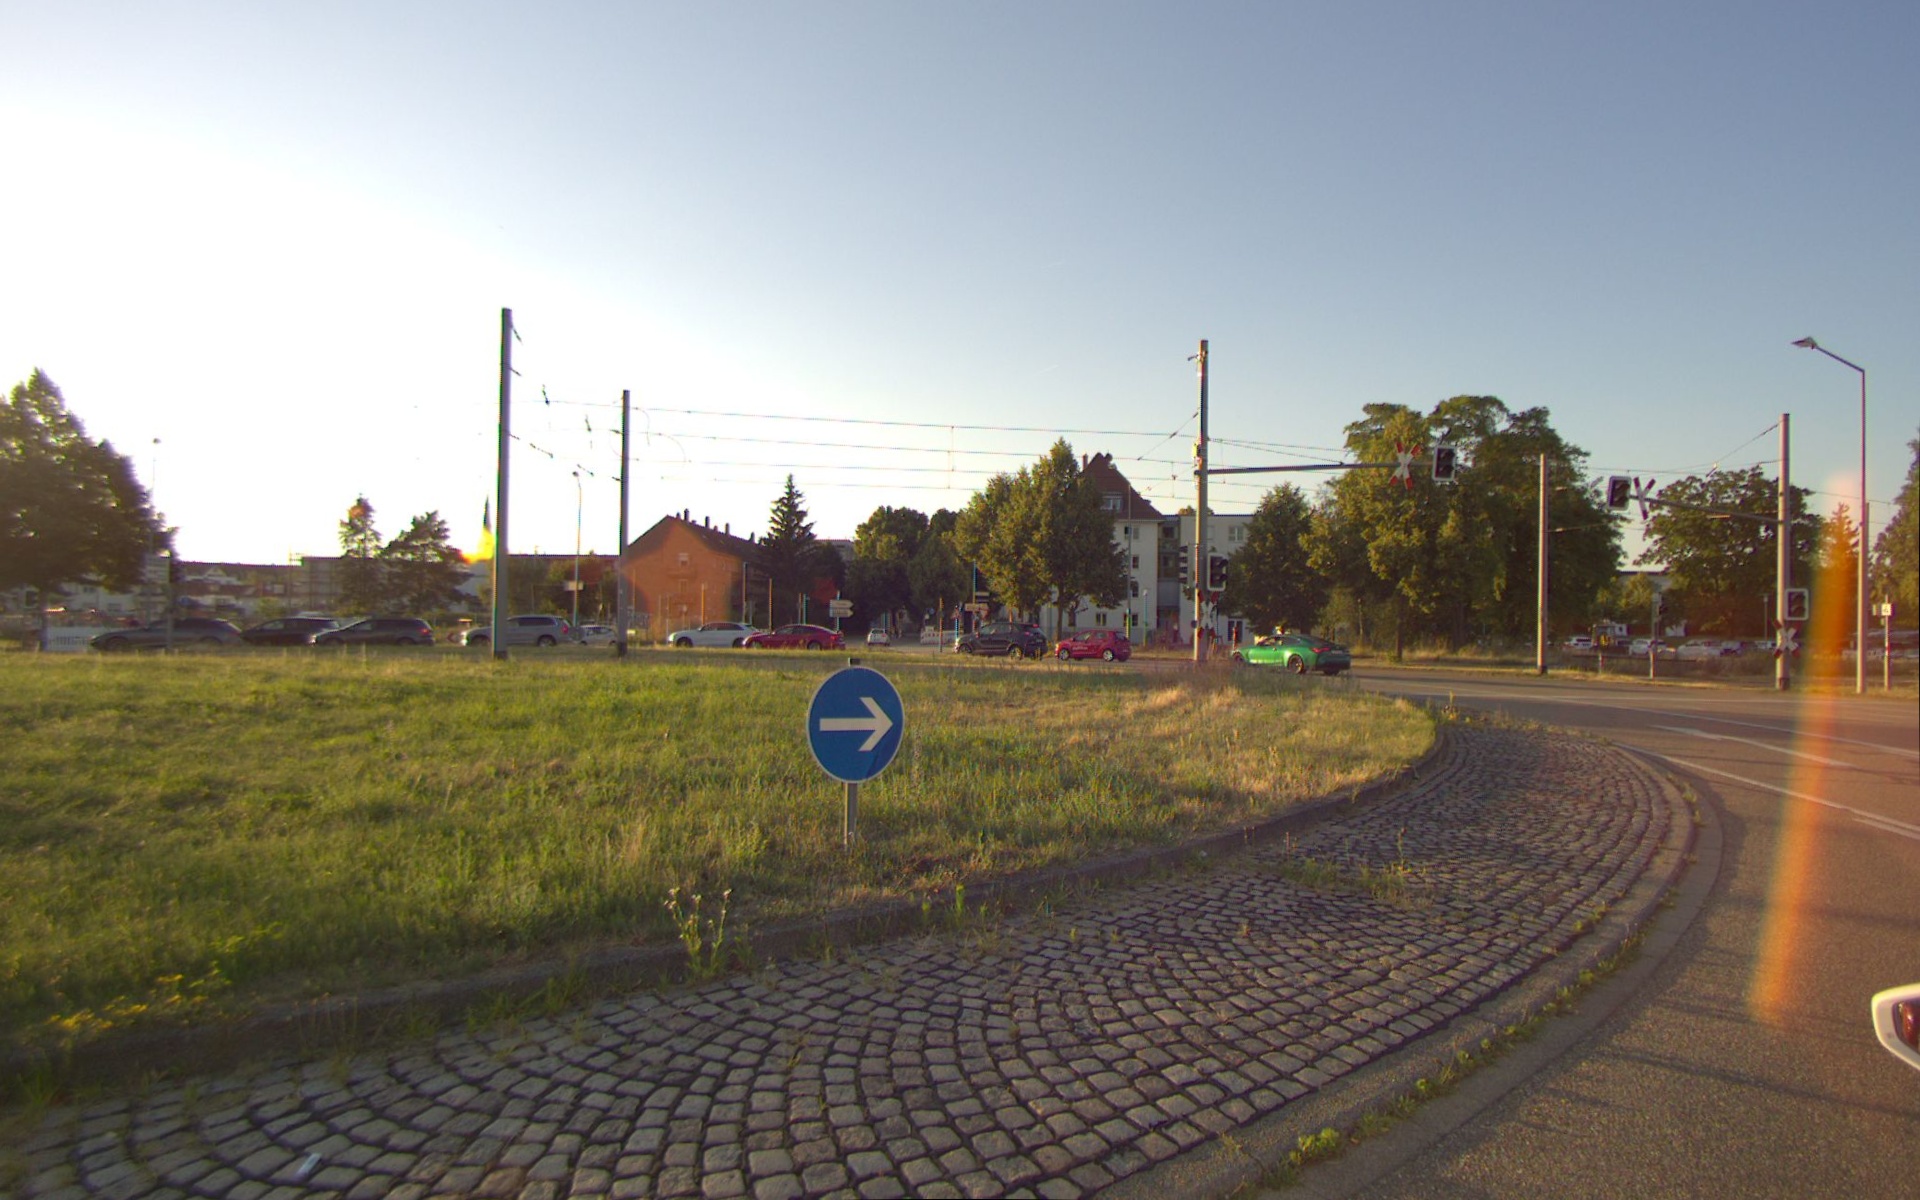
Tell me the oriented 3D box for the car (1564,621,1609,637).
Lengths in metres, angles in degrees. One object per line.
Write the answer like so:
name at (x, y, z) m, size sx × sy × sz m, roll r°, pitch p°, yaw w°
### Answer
car at (79.559, 3.660, 127.632) m, size 4.507 × 2.040 × 2.000 m, roll 1°, pitch -1°, yaw 0°

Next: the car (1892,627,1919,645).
car at (107.433, 4.035, 112.607) m, size 3.919 × 2.040 × 2.001 m, roll 1°, pitch -1°, yaw 11°

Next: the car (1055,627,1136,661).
car at (6.384, 2.051, 47.479) m, size 3.432 × 1.519 × 1.638 m, roll 0°, pitch -1°, yaw 34°

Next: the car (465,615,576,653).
car at (-21.256, 1.627, 48.733) m, size 4.547 × 1.759 × 1.892 m, roll 1°, pitch -1°, yaw -11°

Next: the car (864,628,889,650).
car at (-7.241, 3.354, 87.193) m, size 1.961 × 1.840 × 3.999 m, roll 1°, pitch -1°, yaw -3°

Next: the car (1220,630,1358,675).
car at (11.530, 1.804, 35.595) m, size 1.973 × 1.389 × 4.704 m, roll 1°, pitch -1°, yaw -26°

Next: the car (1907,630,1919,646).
car at (105.566, 4.118, 108.730) m, size 1.971 × 1.728 × 3.979 m, roll 1°, pitch -1°, yaw -22°

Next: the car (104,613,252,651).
car at (-30.678, 1.256, 39.568) m, size 4.299 × 1.394 × 1.985 m, roll 1°, pitch -1°, yaw -29°

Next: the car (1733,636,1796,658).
car at (63.998, 3.720, 79.938) m, size 1.960 × 1.625 × 4.002 m, roll 1°, pitch -1°, yaw 3°

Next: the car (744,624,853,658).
car at (-7.224, 1.836, 45.115) m, size 4.406 × 1.410 × 1.897 m, roll 1°, pitch -1°, yaw 11°

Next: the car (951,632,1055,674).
car at (1.770, 2.176, 41.891) m, size 3.936 × 1.605 × 1.888 m, roll 0°, pitch -1°, yaw 37°

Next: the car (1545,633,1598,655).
car at (49.397, 3.548, 81.235) m, size 1.960 × 1.625 × 4.002 m, roll 1°, pitch -1°, yaw 3°

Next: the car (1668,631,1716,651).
car at (75.629, 4.229, 103.899) m, size 3.934 × 2.040 × 1.994 m, roll 0°, pitch -1°, yaw 35°

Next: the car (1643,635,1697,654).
car at (69.192, 4.335, 97.939) m, size 3.919 × 1.684 × 1.904 m, roll 1°, pitch -1°, yaw 5°

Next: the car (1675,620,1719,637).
car at (93.184, 3.597, 127.040) m, size 4.033 × 2.040 × 2.001 m, roll 1°, pitch -1°, yaw 4°

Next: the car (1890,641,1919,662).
car at (76.335, 4.092, 79.483) m, size 1.960 × 1.625 × 4.002 m, roll 1°, pitch -1°, yaw 3°

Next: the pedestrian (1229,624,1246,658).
pedestrian at (16.140, 2.382, 58.505) m, size 0.614 × 1.918 × 0.662 m, roll 2°, pitch 0°, yaw -35°

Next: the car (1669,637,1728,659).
car at (59.499, 3.853, 81.045) m, size 1.960 × 1.625 × 4.002 m, roll 1°, pitch -1°, yaw 3°

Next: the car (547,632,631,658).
car at (-21.700, 2.611, 58.896) m, size 2.071 × 1.385 × 4.462 m, roll 0°, pitch -1°, yaw 26°

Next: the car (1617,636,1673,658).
car at (54.739, 3.705, 80.343) m, size 1.960 × 1.625 × 4.002 m, roll 1°, pitch -1°, yaw 3°

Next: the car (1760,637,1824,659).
car at (66.351, 3.792, 80.177) m, size 1.960 × 1.625 × 4.002 m, roll 1°, pitch -1°, yaw 3°

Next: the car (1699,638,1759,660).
car at (61.618, 3.915, 80.567) m, size 1.960 × 1.625 × 4.002 m, roll 1°, pitch -1°, yaw 3°

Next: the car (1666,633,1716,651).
car at (73.143, 4.193, 100.583) m, size 3.934 × 1.684 × 1.994 m, roll 0°, pitch -1°, yaw 35°

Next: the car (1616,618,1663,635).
car at (86.234, 3.391, 127.448) m, size 4.505 × 2.040 × 2.001 m, roll 1°, pitch -1°, yaw 5°

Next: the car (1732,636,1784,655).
car at (77.329, 4.424, 97.422) m, size 3.938 × 1.684 × 1.894 m, roll 0°, pitch -1°, yaw 39°

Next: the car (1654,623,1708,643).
car at (80.210, 3.653, 111.748) m, size 4.507 × 2.040 × 2.000 m, roll 1°, pitch -1°, yaw 0°

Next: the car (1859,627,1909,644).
car at (108.013, 4.135, 117.459) m, size 3.919 × 1.840 × 2.001 m, roll 1°, pitch -1°, yaw 5°

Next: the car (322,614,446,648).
car at (-24.315, 1.315, 42.570) m, size 4.323 × 1.394 × 1.989 m, roll 1°, pitch -1°, yaw -24°

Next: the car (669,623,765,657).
car at (-12.852, 2.094, 53.412) m, size 4.624 × 1.728 × 1.999 m, roll 1°, pitch -1°, yaw -3°
